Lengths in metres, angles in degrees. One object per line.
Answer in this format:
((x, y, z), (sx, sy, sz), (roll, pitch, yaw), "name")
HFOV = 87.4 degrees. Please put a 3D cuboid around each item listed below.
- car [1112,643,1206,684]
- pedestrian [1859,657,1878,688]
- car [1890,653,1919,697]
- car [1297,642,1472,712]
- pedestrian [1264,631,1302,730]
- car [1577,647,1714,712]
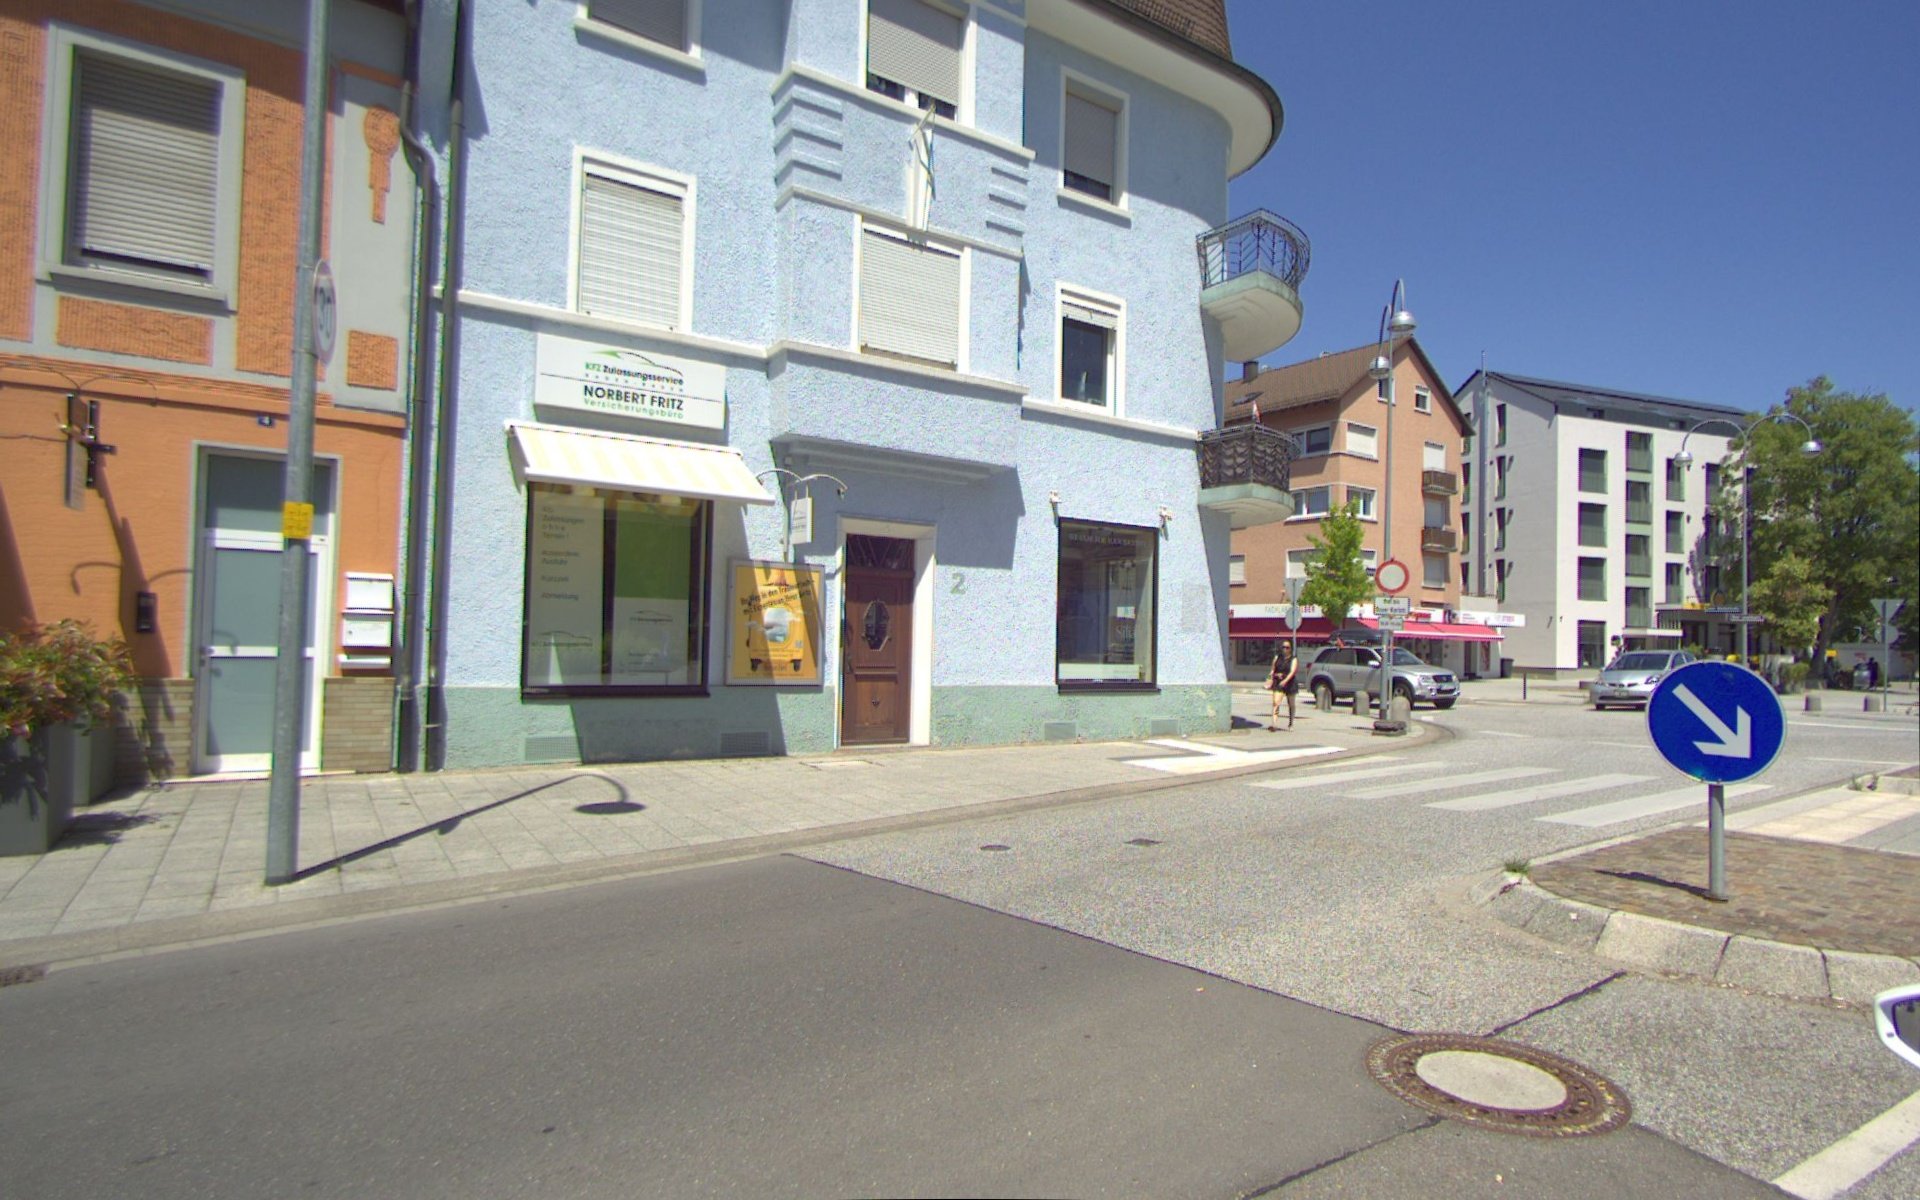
((9.202, 2.906, 46.507), (3.945, 1.772, 1.792), (-2, -4, 44), "car")
((47.336, 3.785, 52.339), (0.554, 1.596, 0.534), (2, -3, -20), "pedestrian")
((35.360, 2.692, 36.308), (3.966, 1.529, 1.978), (3, -5, -39), "car")
((11.452, 2.040, 27.392), (1.815, 1.710, 4.172), (-1, -2, -28), "car")
((5.336, 1.324, 16.615), (0.535, 1.606, 0.515), (0, -3, 10), "pedestrian")
((16.760, 1.901, 24.516), (3.434, 1.469, 1.566), (1, -4, -34), "car")
